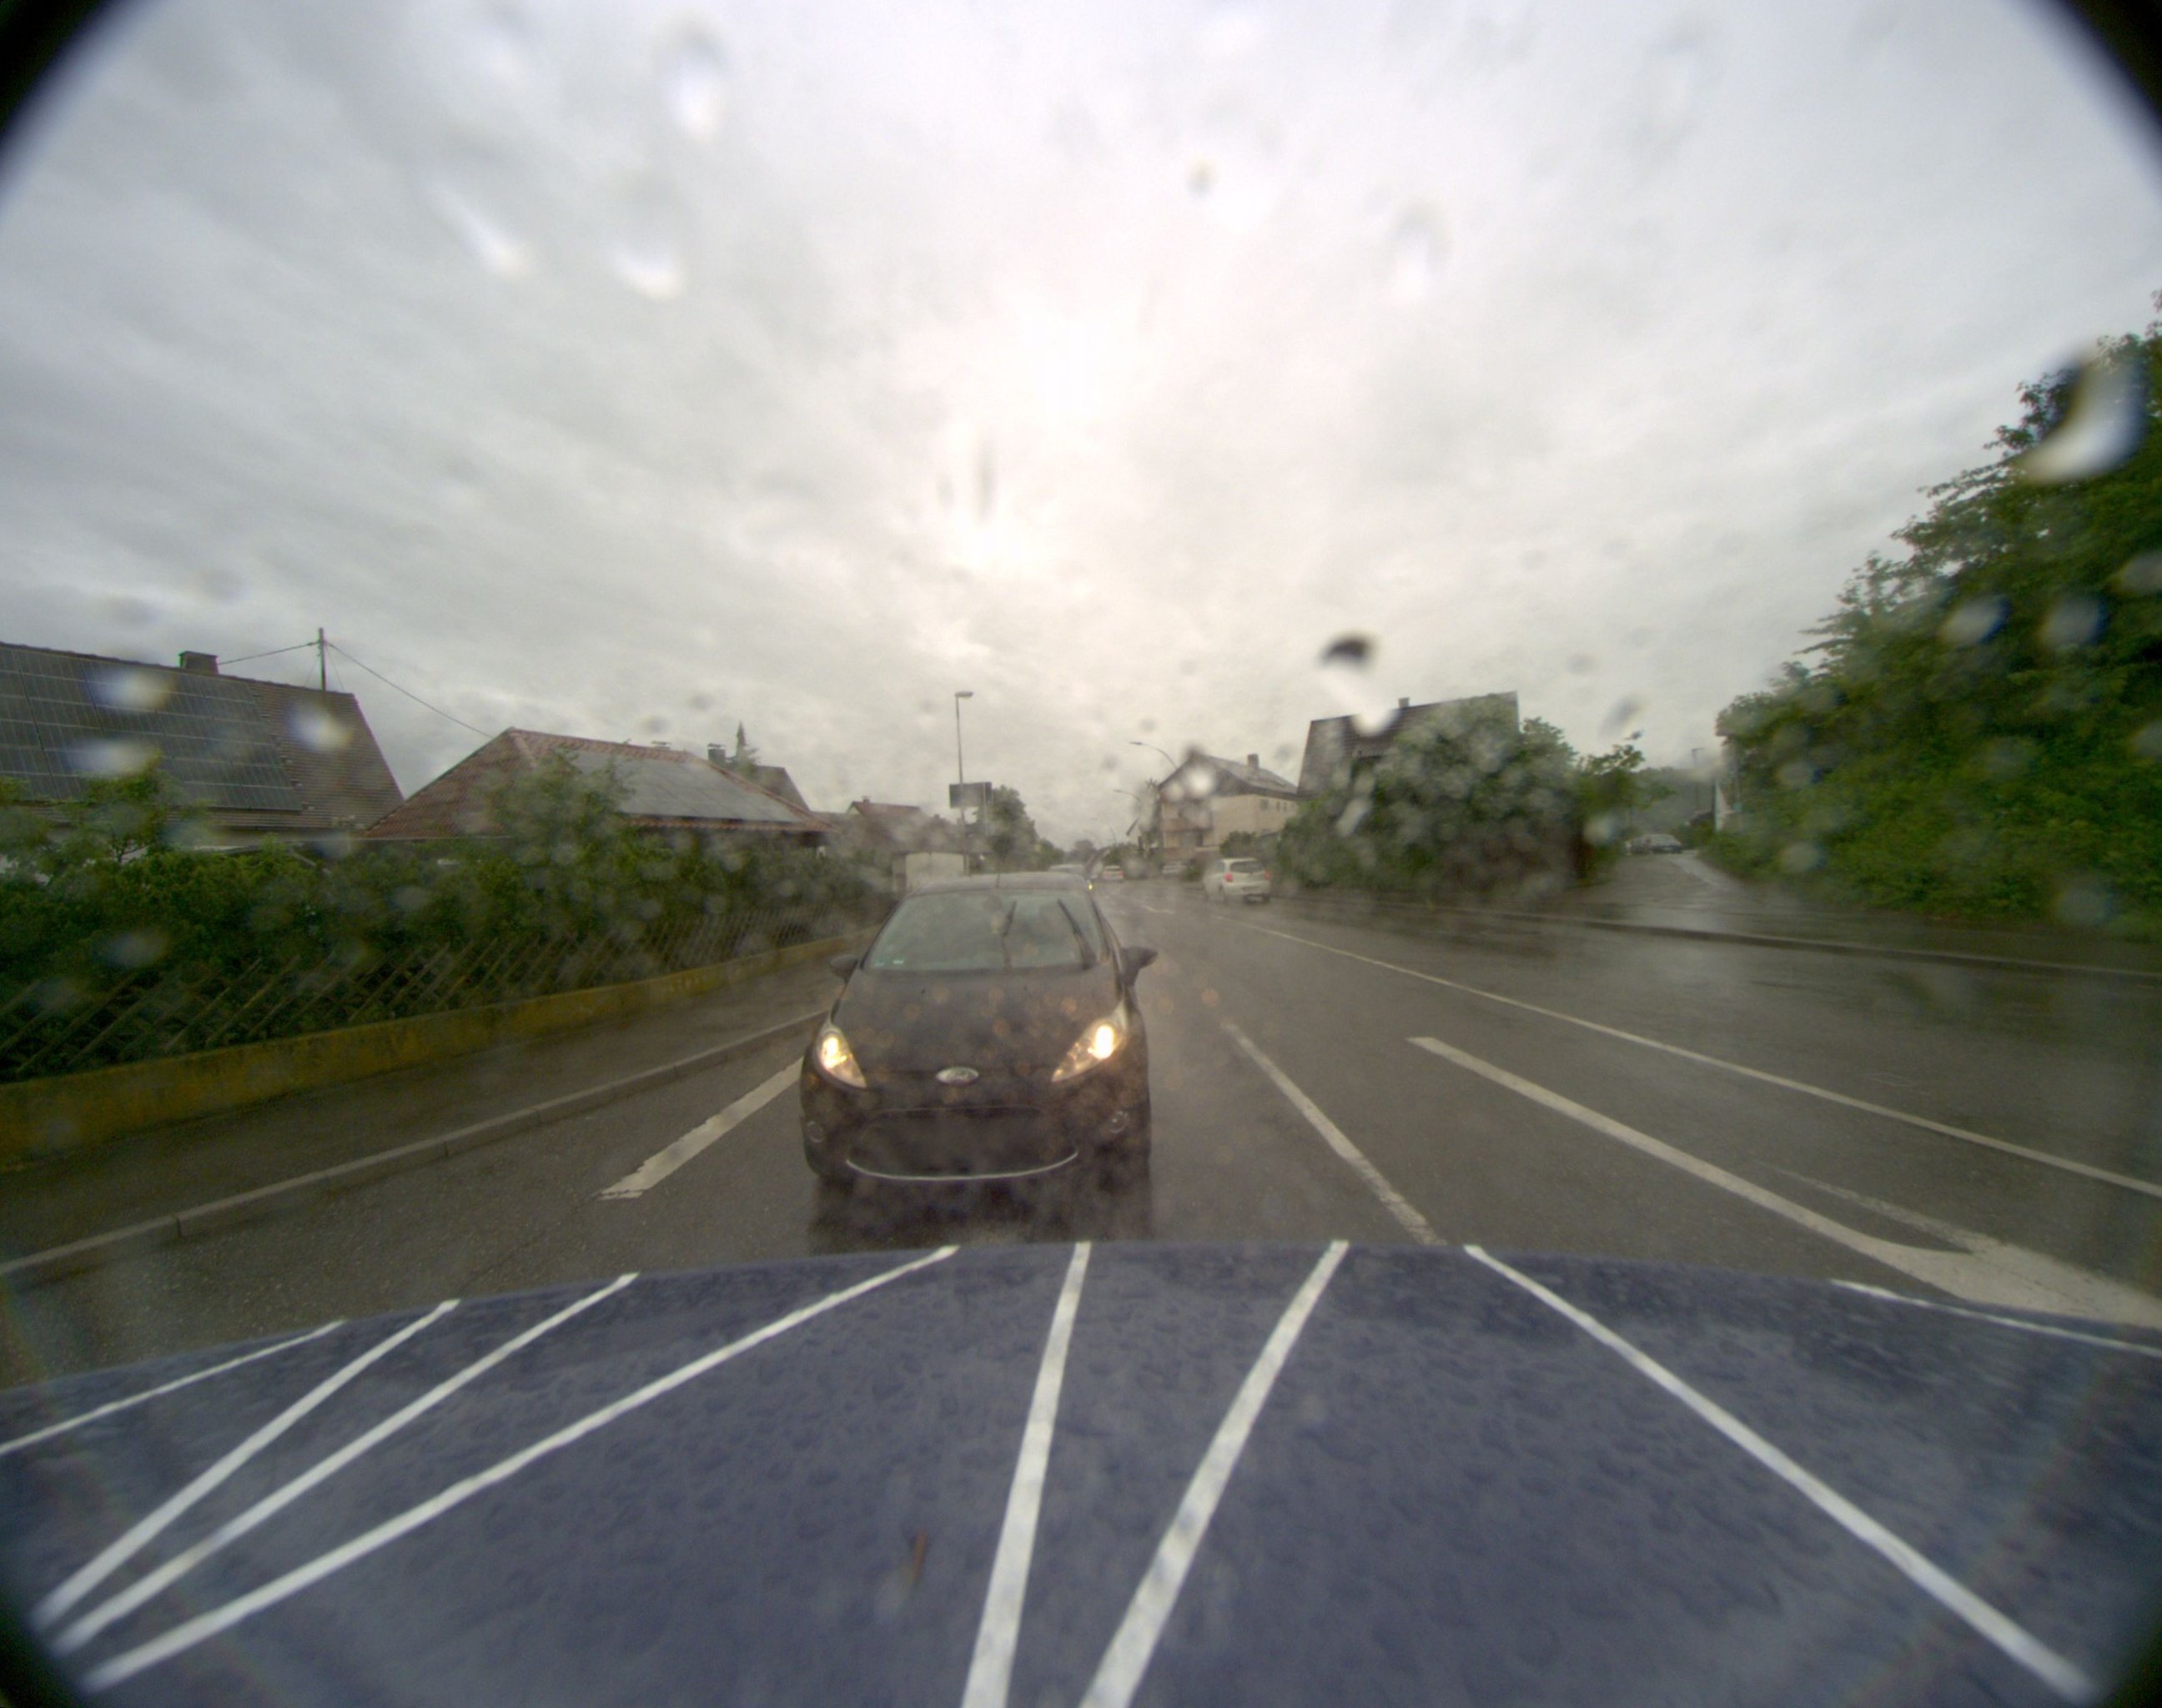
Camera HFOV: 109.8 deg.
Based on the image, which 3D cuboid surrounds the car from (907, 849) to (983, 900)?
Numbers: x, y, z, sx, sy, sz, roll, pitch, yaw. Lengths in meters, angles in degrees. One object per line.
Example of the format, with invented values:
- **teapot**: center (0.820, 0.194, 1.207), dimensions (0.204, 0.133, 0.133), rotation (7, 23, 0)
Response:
- **car**: center (-6.845, 1.001, 38.723), dimensions (1.650, 2.337, 4.007), rotation (-2, 0, 27)

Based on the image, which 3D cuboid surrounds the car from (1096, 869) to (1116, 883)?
- **car**: center (2.901, 2.543, 87.919), dimensions (1.670, 1.430, 4.105), rotation (0, 0, -8)

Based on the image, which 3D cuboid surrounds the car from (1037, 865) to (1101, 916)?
- **car**: center (-0.444, 1.149, 25.224), dimensions (1.899, 1.474, 3.999), rotation (-2, 0, -3)

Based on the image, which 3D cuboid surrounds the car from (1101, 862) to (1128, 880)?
- **car**: center (3.024, 1.546, 69.310), dimensions (1.669, 1.496, 4.319), rotation (-3, 0, -6)

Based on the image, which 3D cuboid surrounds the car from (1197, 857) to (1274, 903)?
- **car**: center (5.462, 0.878, 27.307), dimensions (1.625, 1.496, 3.820), rotation (-1, 0, -6)

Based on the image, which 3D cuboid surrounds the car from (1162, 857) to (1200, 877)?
- **car**: center (8.812, 1.104, 66.879), dimensions (1.661, 1.538, 4.007), rotation (-2, 1, 34)

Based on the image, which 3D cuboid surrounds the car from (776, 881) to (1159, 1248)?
- **car**: center (-0.555, 1.017, 5.397), dimensions (1.666, 1.410, 3.931), rotation (-2, 1, -1)

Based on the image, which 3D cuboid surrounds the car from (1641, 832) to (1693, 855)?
- **car**: center (40.675, -0.741, 52.852), dimensions (1.895, 1.474, 4.007), rotation (-2, 0, 24)

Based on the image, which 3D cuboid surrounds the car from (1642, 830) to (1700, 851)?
- **car**: center (45.567, -1.017, 58.785), dimensions (1.997, 1.477, 4.004), rotation (-3, 0, 13)
